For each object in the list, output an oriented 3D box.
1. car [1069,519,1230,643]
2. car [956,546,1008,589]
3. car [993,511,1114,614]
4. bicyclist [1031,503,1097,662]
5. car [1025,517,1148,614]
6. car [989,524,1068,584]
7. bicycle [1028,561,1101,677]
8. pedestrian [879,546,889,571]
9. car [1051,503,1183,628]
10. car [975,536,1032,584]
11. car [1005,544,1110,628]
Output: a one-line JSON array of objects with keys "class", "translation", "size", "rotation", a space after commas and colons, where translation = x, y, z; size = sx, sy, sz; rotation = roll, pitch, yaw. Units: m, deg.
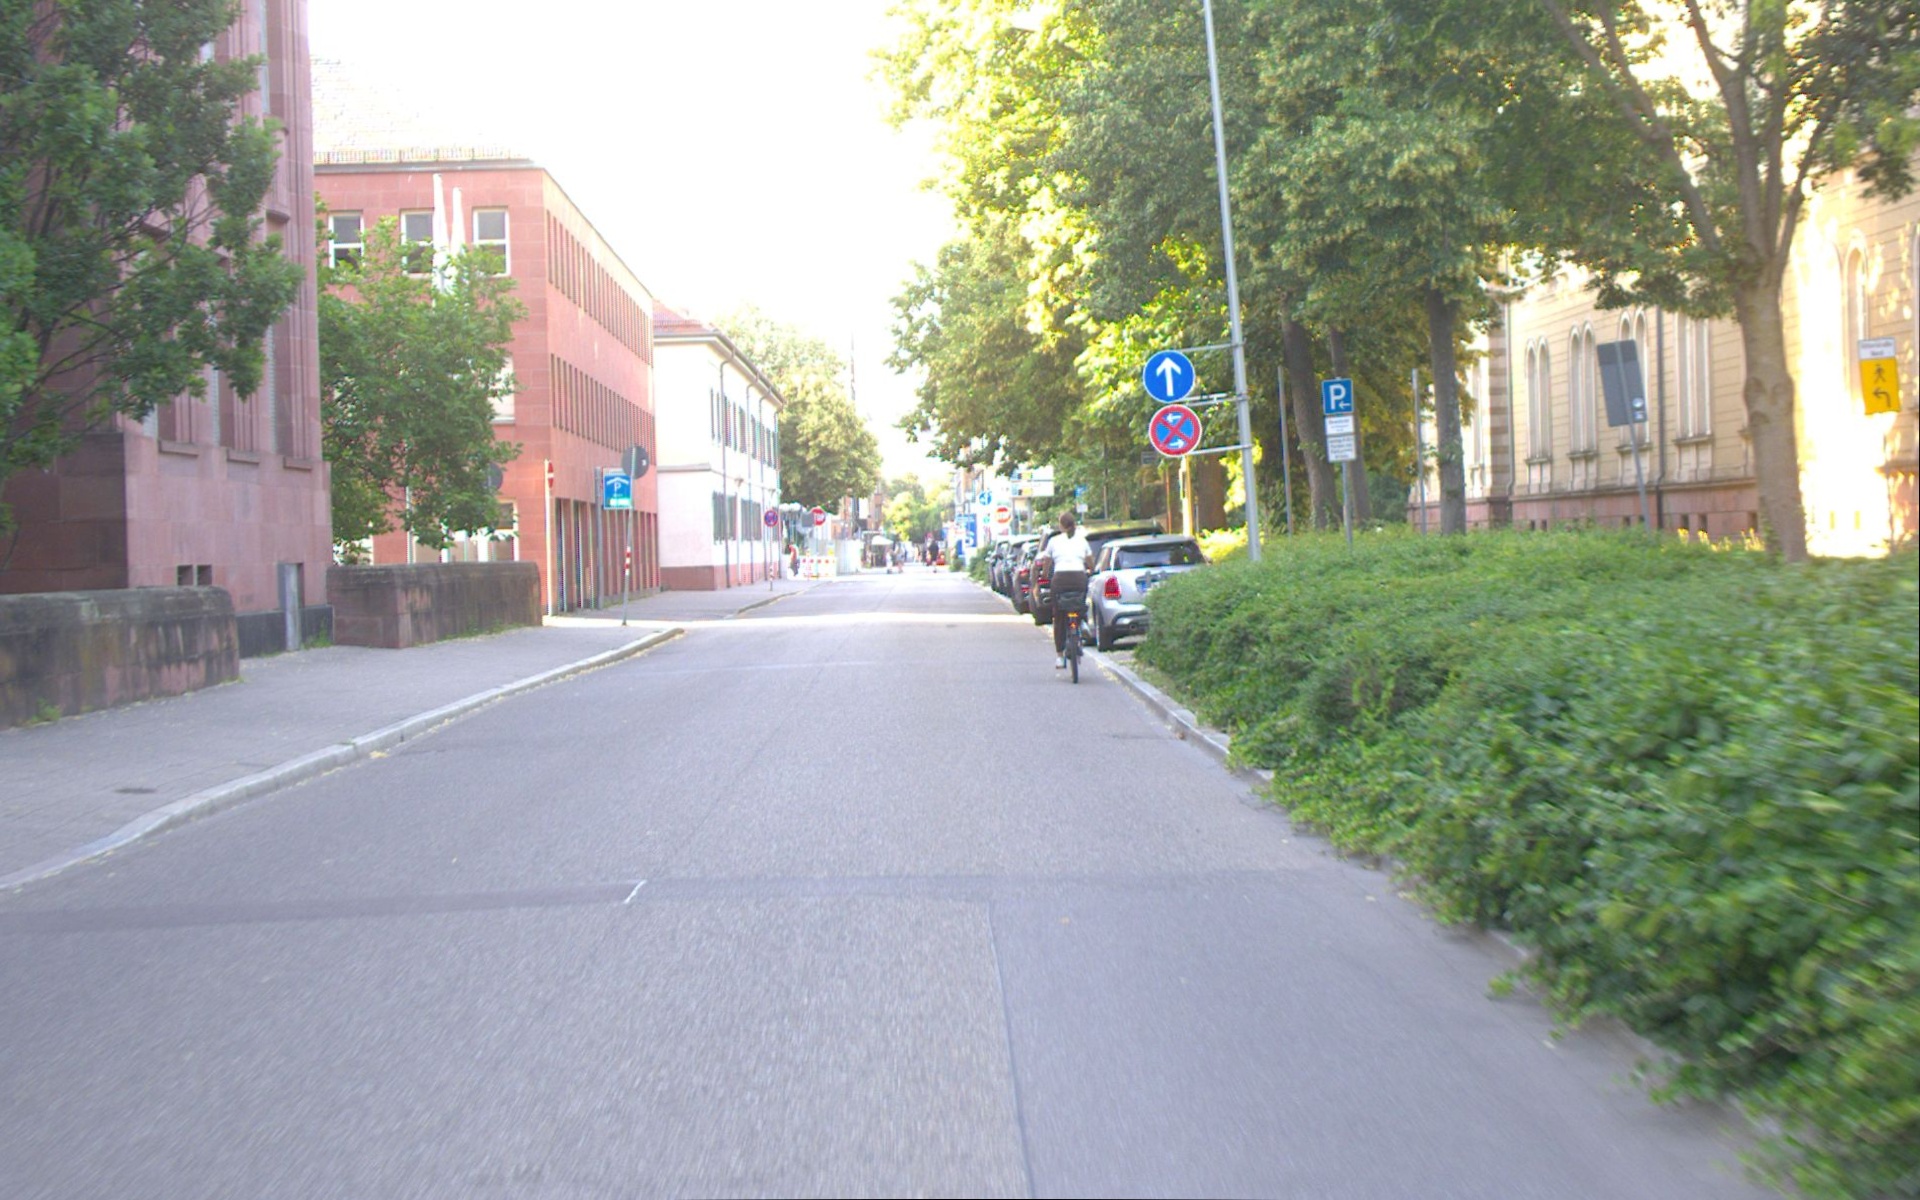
[{"class": "car", "translation": [2.441, -0.242, 45.016], "size": [1.685, 1.442, 3.672], "rotation": [-4, 0, -2]}, {"class": "car", "translation": [1.150, -1.731, 183.148], "size": [2.493, 2.188, 4.910], "rotation": [-2, 1, -1]}, {"class": "car", "translation": [1.725, -0.712, 64.701], "size": [1.993, 1.809, 4.000], "rotation": [-2, 1, -1]}, {"class": "bicyclist", "translation": [1.091, -0.188, 36.258], "size": [0.639, 1.661, 0.843], "rotation": [0, 1, -2]}, {"class": "car", "translation": [2.114, -0.604, 58.391], "size": [1.715, 1.532, 4.049], "rotation": [-2, 1, -2]}, {"class": "car", "translation": [1.908, -1.294, 96.639], "size": [1.993, 1.579, 4.000], "rotation": [-2, 1, -1]}, {"class": "bicycle", "translation": [1.089, 0.185, 36.271], "size": [0.638, 1.189, 1.876], "rotation": [0, 1, -2]}, {"class": "pedestrian", "translation": [-4.638, -2.513, 208.809], "size": [0.534, 1.467, 0.449], "rotation": [-2, 1, -2]}, {"class": "car", "translation": [2.291, -0.538, 51.135], "size": [1.715, 1.706, 4.473], "rotation": [-2, 1, 0]}, {"class": "car", "translation": [1.678, -1.554, 132.818], "size": [1.993, 1.743, 4.000], "rotation": [-2, 1, -1]}, {"class": "car", "translation": [2.082, -0.331, 74.639], "size": [1.993, 1.700, 4.000], "rotation": [-2, 1, -1]}]
